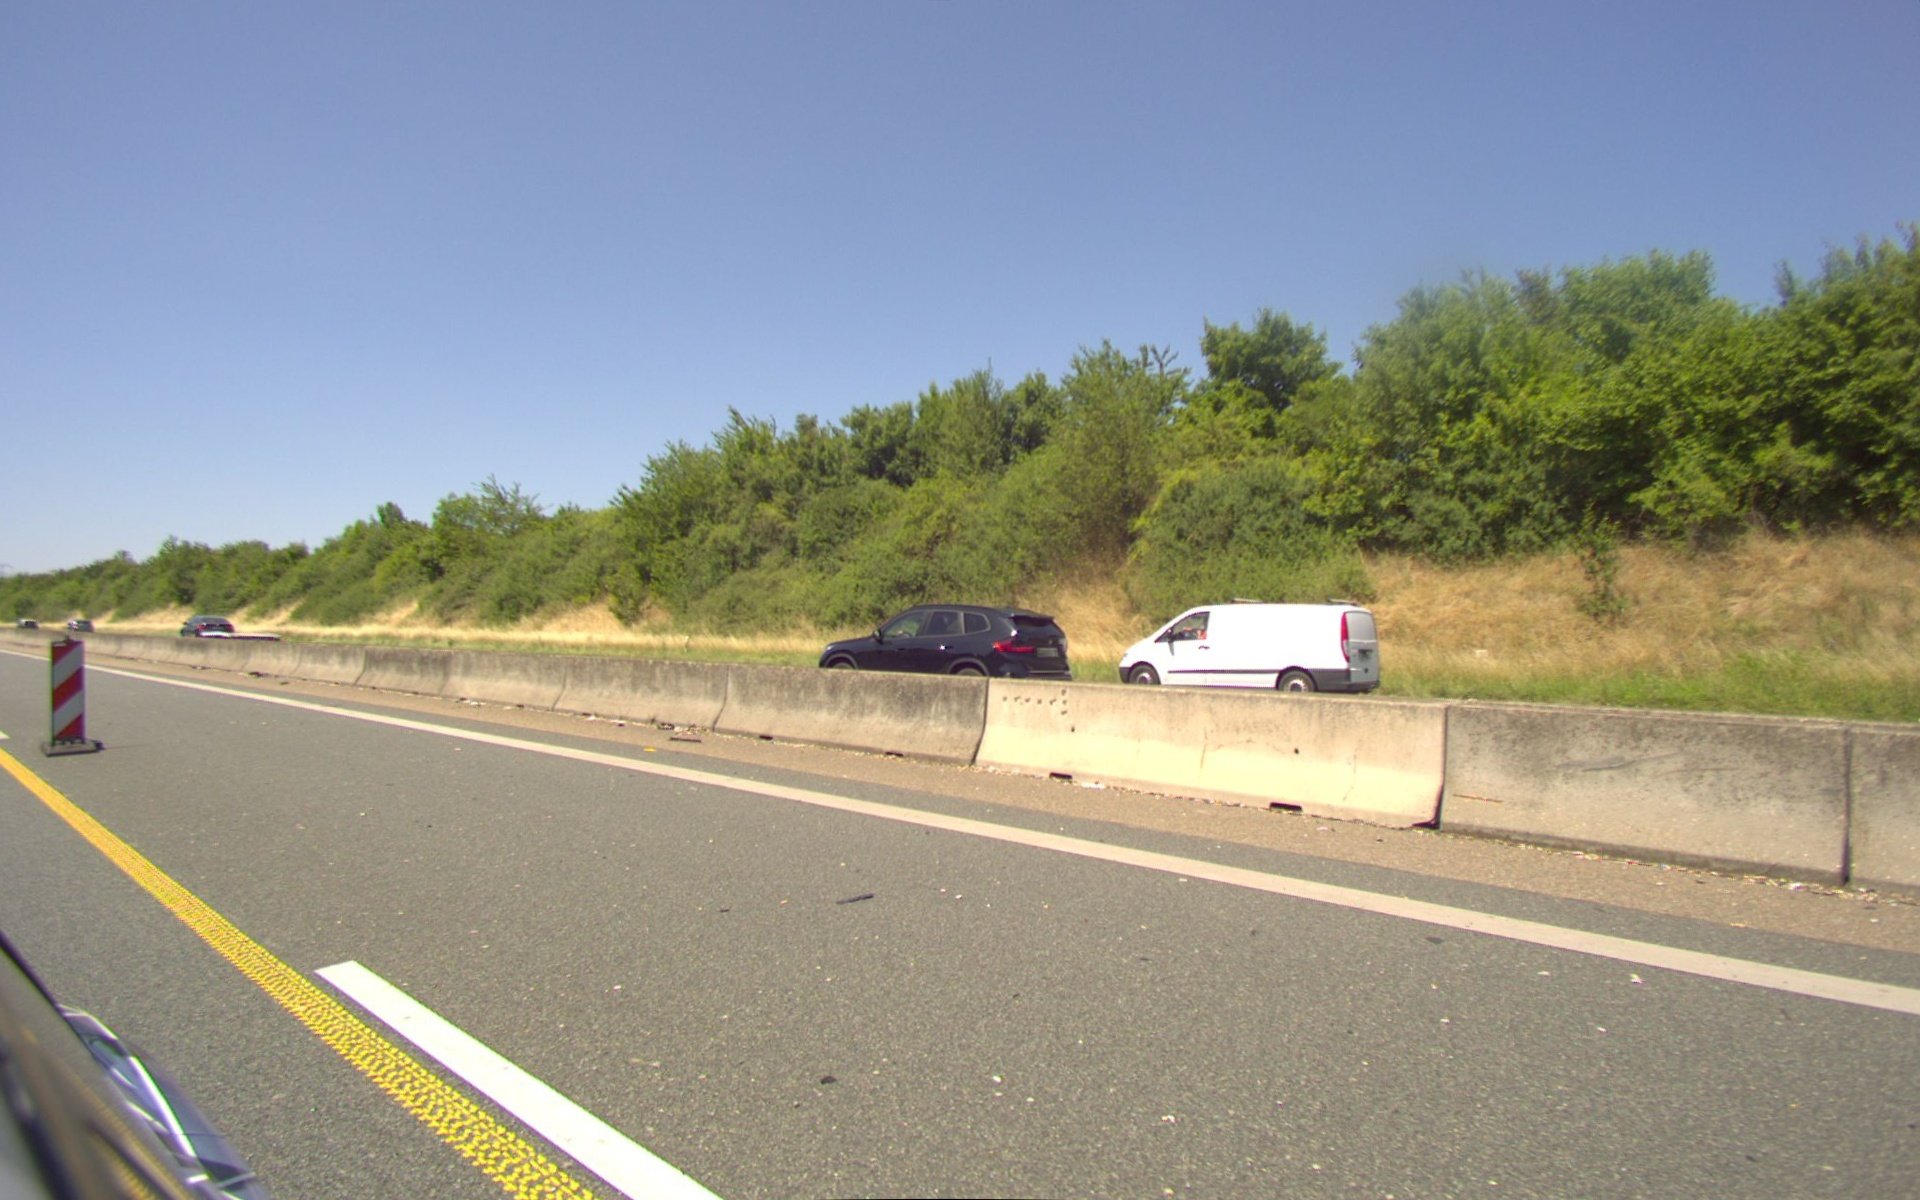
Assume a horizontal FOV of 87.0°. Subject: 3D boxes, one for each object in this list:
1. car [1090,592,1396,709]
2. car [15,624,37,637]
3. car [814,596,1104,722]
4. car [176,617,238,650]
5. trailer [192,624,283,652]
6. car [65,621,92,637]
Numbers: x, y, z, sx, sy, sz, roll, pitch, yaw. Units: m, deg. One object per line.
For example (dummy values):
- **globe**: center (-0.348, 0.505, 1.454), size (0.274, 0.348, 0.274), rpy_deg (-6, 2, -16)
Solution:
- **car**: center (5.458, 0.944, 20.116), size (5.593, 2.029, 1.910), rpy_deg (-1, -2, 41)
- **car**: center (-114.101, 3.699, 123.586), size (3.777, 1.475, 1.557), rpy_deg (-1, -2, 42)
- **car**: center (-0.136, 0.845, 15.914), size (4.497, 1.707, 1.853), rpy_deg (-1, -2, 42)
- **car**: center (-42.642, 1.868, 57.247), size (4.563, 1.767, 1.893), rpy_deg (-1, 0, 41)
- **trailer**: center (-38.129, 1.944, 53.320), size (7.213, 1.354, 2.331), rpy_deg (-1, -2, 41)
- **car**: center (-88.881, 2.907, 102.010), size (3.998, 1.560, 1.484), rpy_deg (-1, -2, 41)
